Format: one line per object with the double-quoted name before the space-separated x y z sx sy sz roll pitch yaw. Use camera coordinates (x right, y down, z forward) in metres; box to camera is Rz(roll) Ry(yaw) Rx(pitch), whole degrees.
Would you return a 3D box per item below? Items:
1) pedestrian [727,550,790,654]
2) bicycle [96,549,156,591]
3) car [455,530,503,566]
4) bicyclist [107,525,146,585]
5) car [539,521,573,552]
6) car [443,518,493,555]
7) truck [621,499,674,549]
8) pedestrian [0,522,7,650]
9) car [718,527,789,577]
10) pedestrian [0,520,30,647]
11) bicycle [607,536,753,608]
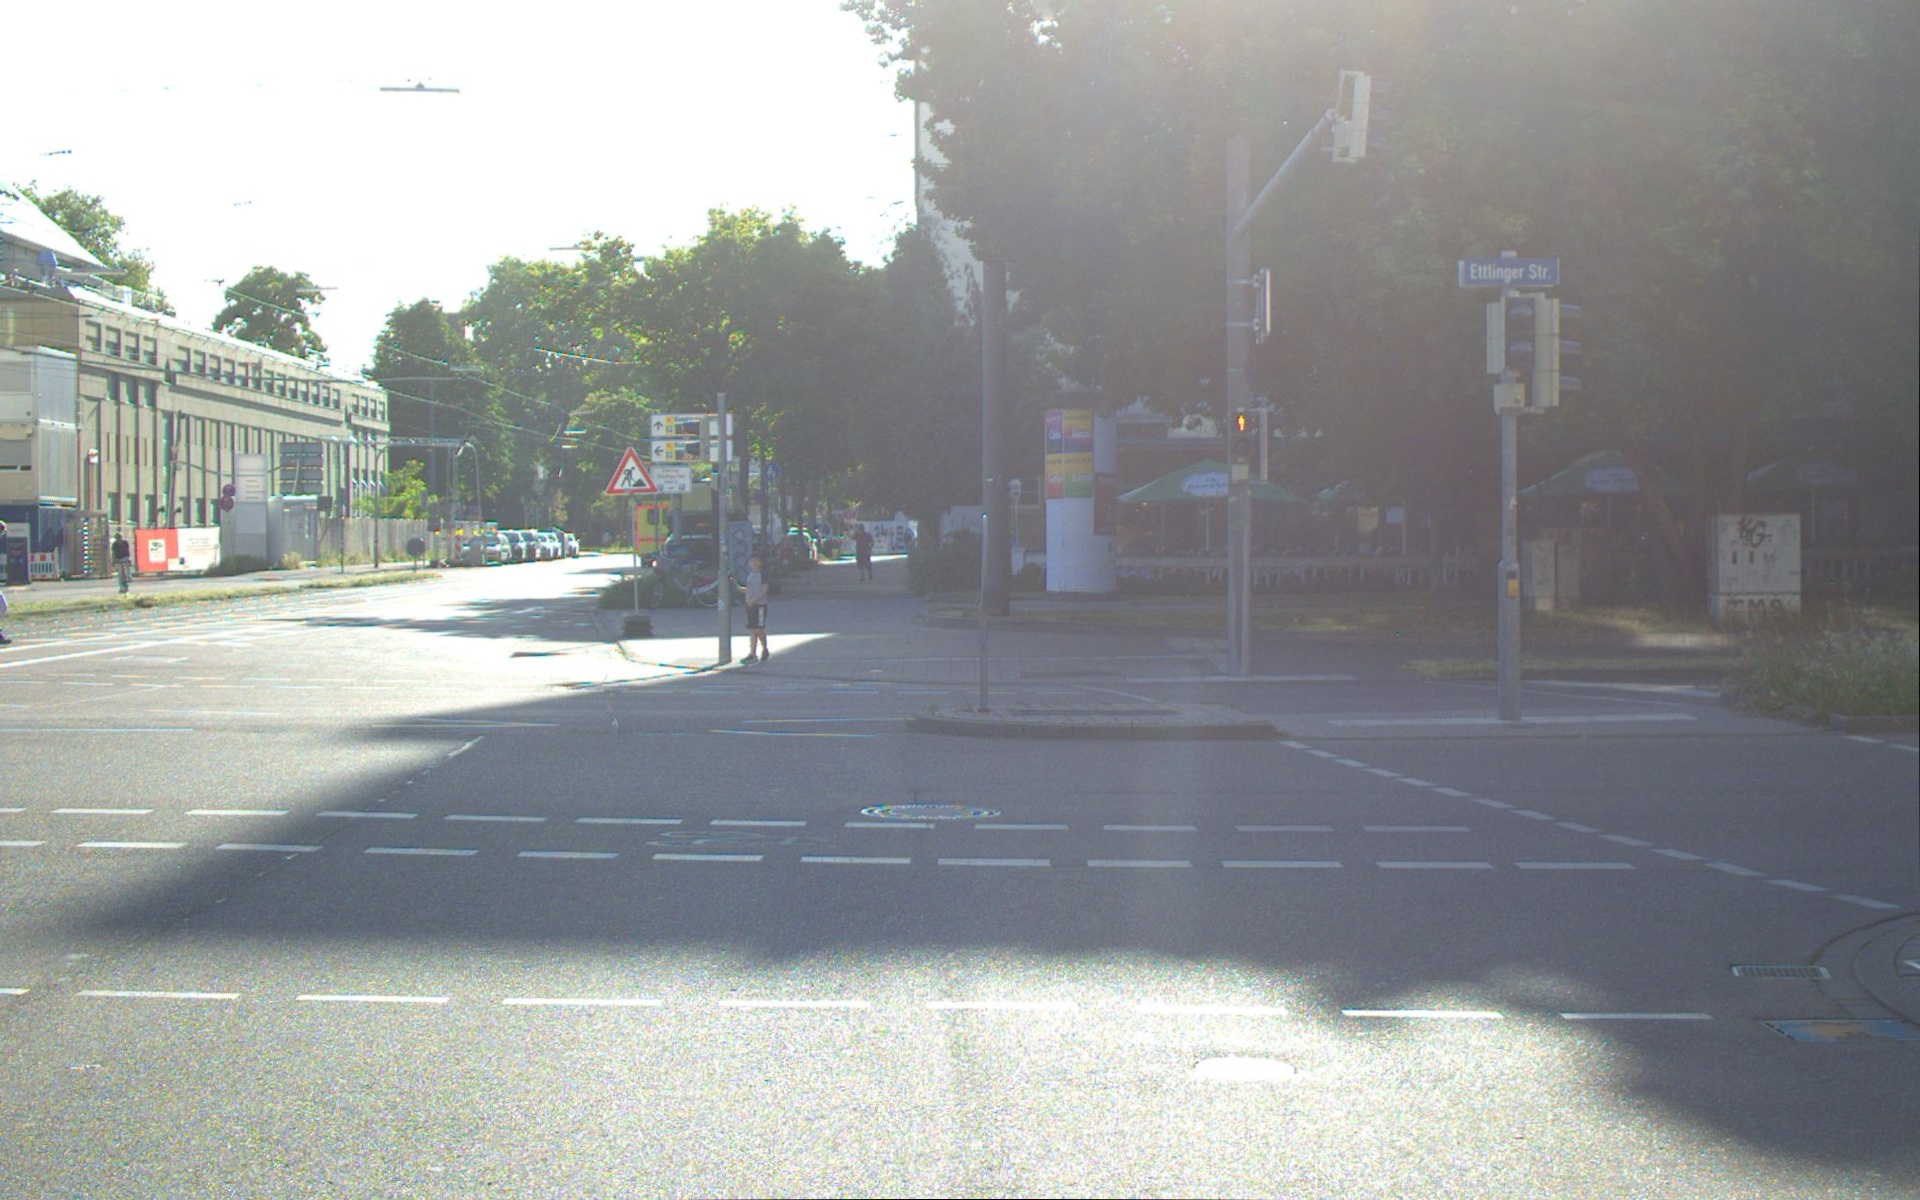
"pedestrian" -2.603 0.019 44.422 0.752 1.328 0.742 0 1 1
"bicycle" -22.940 -0.843 94.647 0.875 1.117 3.013 0 1 1
"car" -22.374 -2.406 160.021 1.731 1.647 4.000 0 1 -1
"bicyclist" -22.944 -1.245 94.644 0.875 1.636 0.822 0 1 1
"car" -22.831 -3.590 194.257 1.483 1.744 4.000 -1 1 -1
"car" -22.289 -2.898 155.970 1.731 1.647 4.000 0 1 -1
"truck" -13.238 -3.214 145.633 1.915 2.085 4.000 0 1 -1
"pedestrian" -12.712 -0.183 44.844 0.441 1.657 0.376 -1 1 -1
"car" -5.499 -1.288 91.800 1.819 1.274 4.001 0 1 -3
"pedestrian" -12.228 -0.205 43.008 0.984 1.582 0.660 0 0 1
"bicycle" -5.471 -0.557 67.141 2.748 1.363 0.630 1 0 11
